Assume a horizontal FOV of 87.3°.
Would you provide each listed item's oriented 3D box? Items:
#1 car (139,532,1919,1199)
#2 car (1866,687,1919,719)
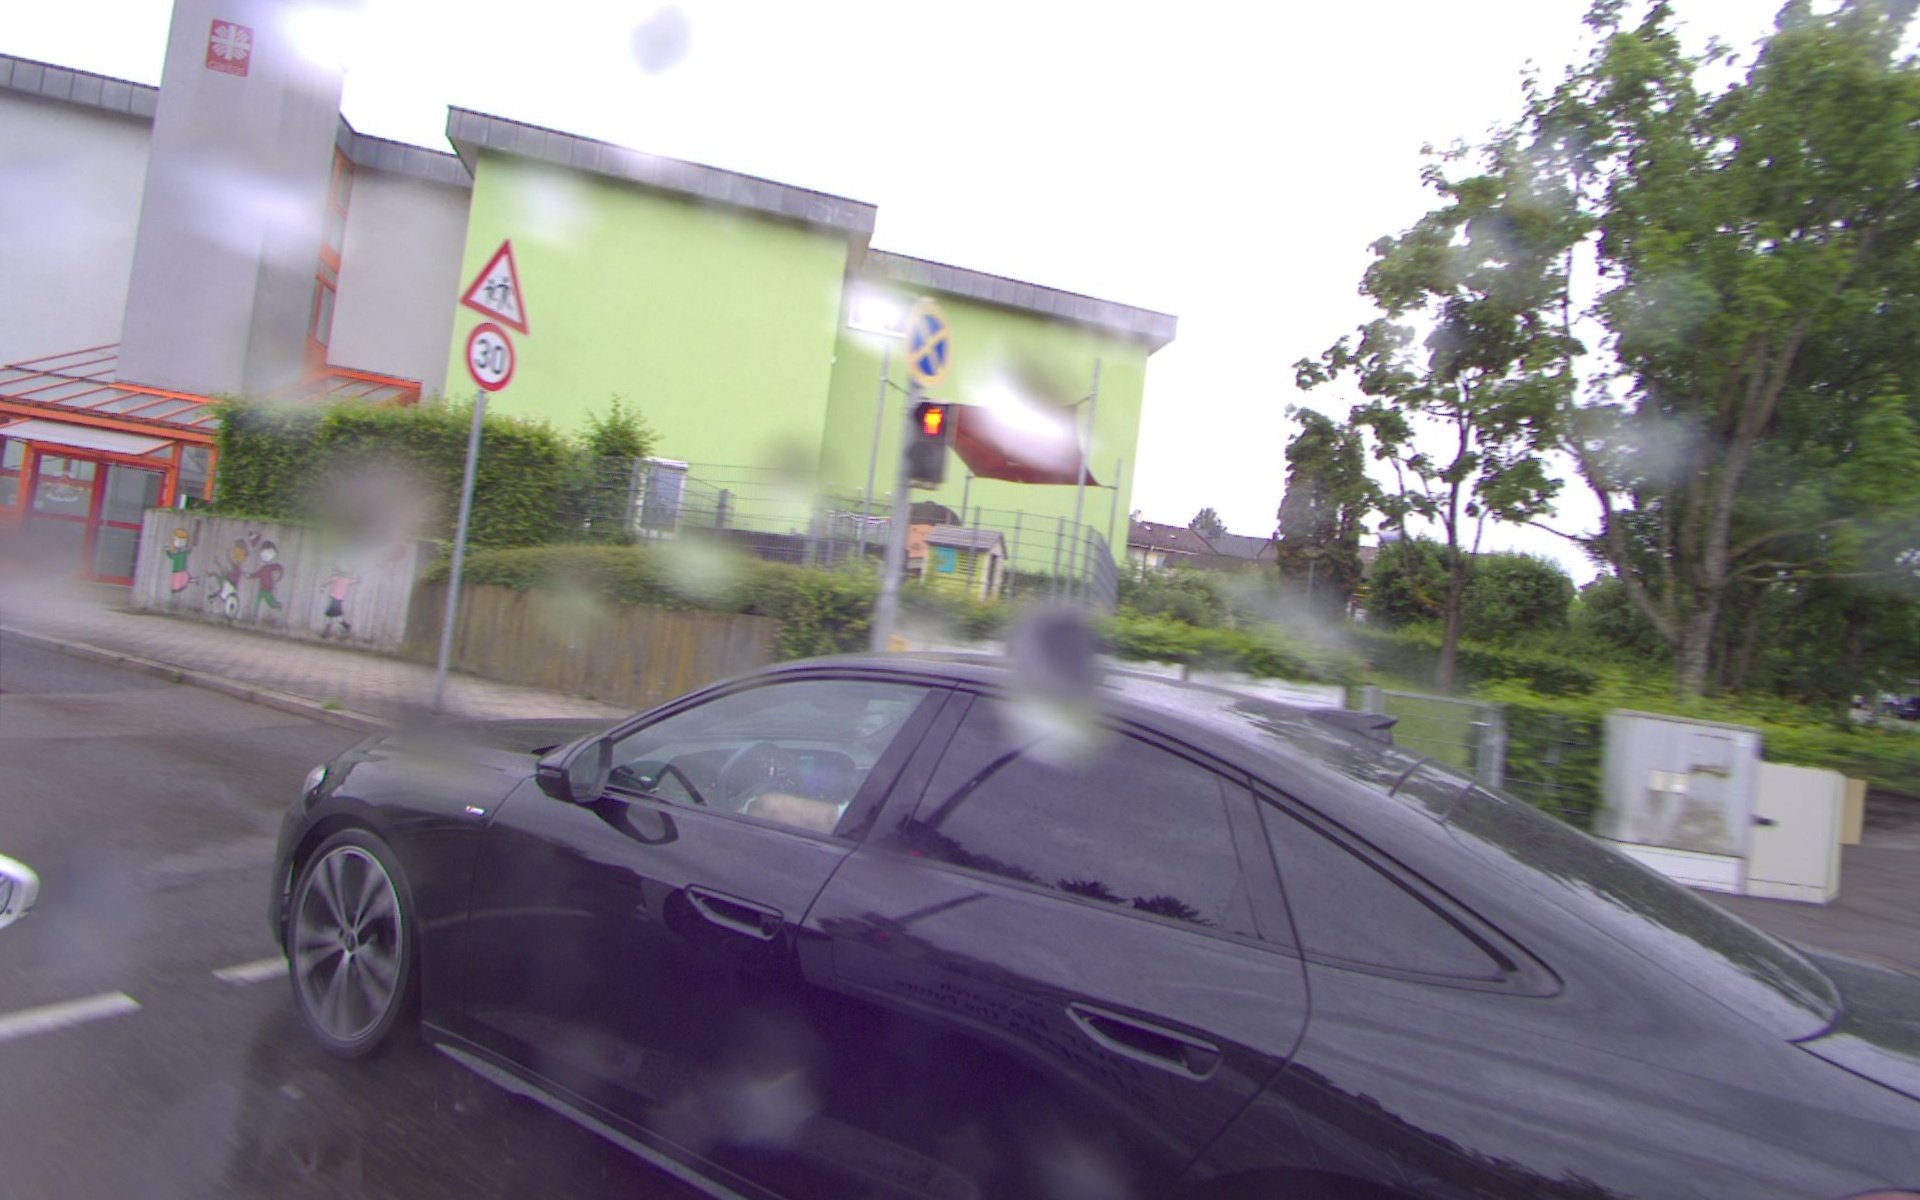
[{"bbox_3d":[-0.233,0.764,3.043,4.659,1.441,1.870,6,-2,30],"label":"car"},{"bbox_3d":[63.242,6.959,67.786,1.964,1.829,3.997,6,-1,24],"label":"car"}]
